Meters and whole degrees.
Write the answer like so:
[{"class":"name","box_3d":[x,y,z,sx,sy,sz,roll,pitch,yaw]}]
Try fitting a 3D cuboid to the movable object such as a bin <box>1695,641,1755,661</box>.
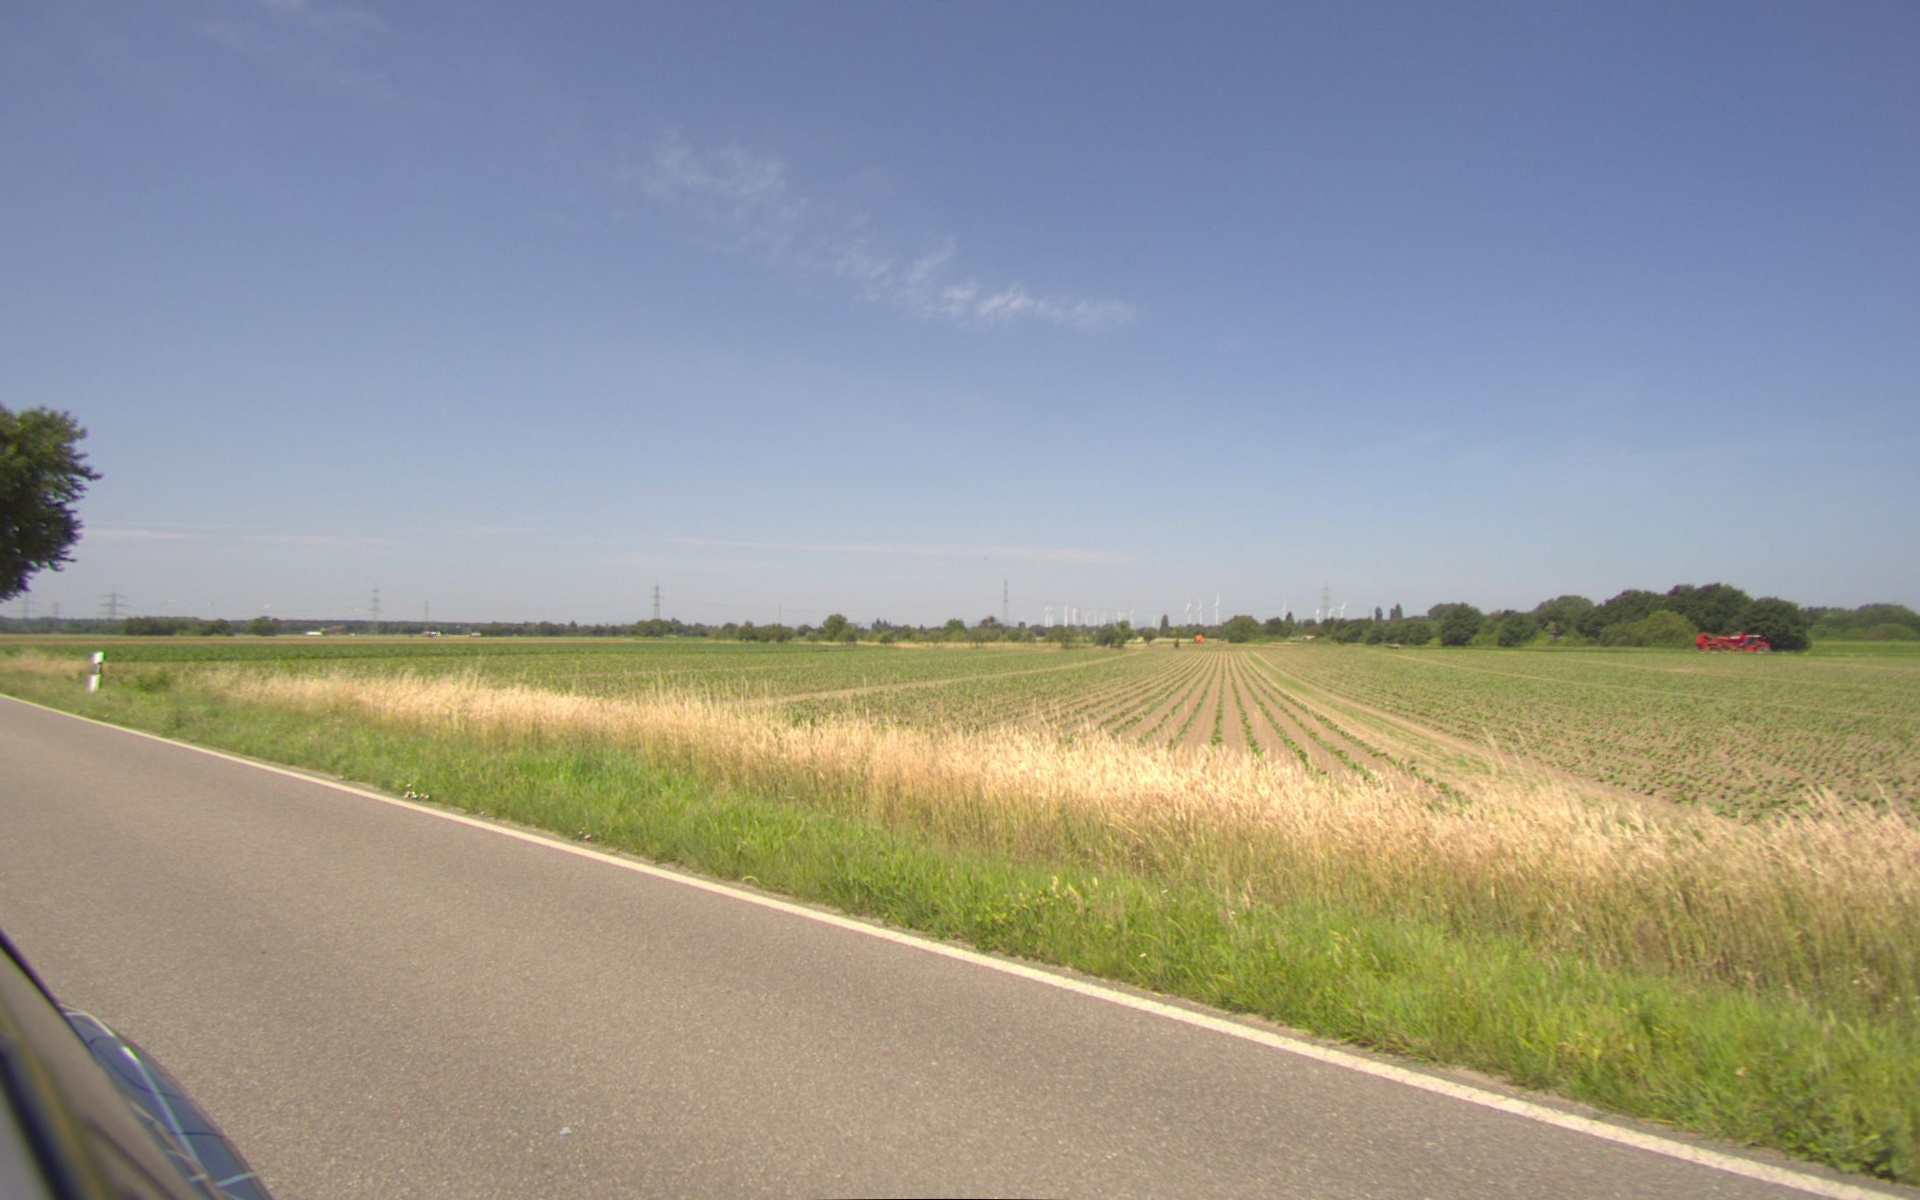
[{"class":"movable object such as a bin","box_3d":[148.936,9.962,197.206,2.505,3.879,10.000,1,-3,-11]}]
